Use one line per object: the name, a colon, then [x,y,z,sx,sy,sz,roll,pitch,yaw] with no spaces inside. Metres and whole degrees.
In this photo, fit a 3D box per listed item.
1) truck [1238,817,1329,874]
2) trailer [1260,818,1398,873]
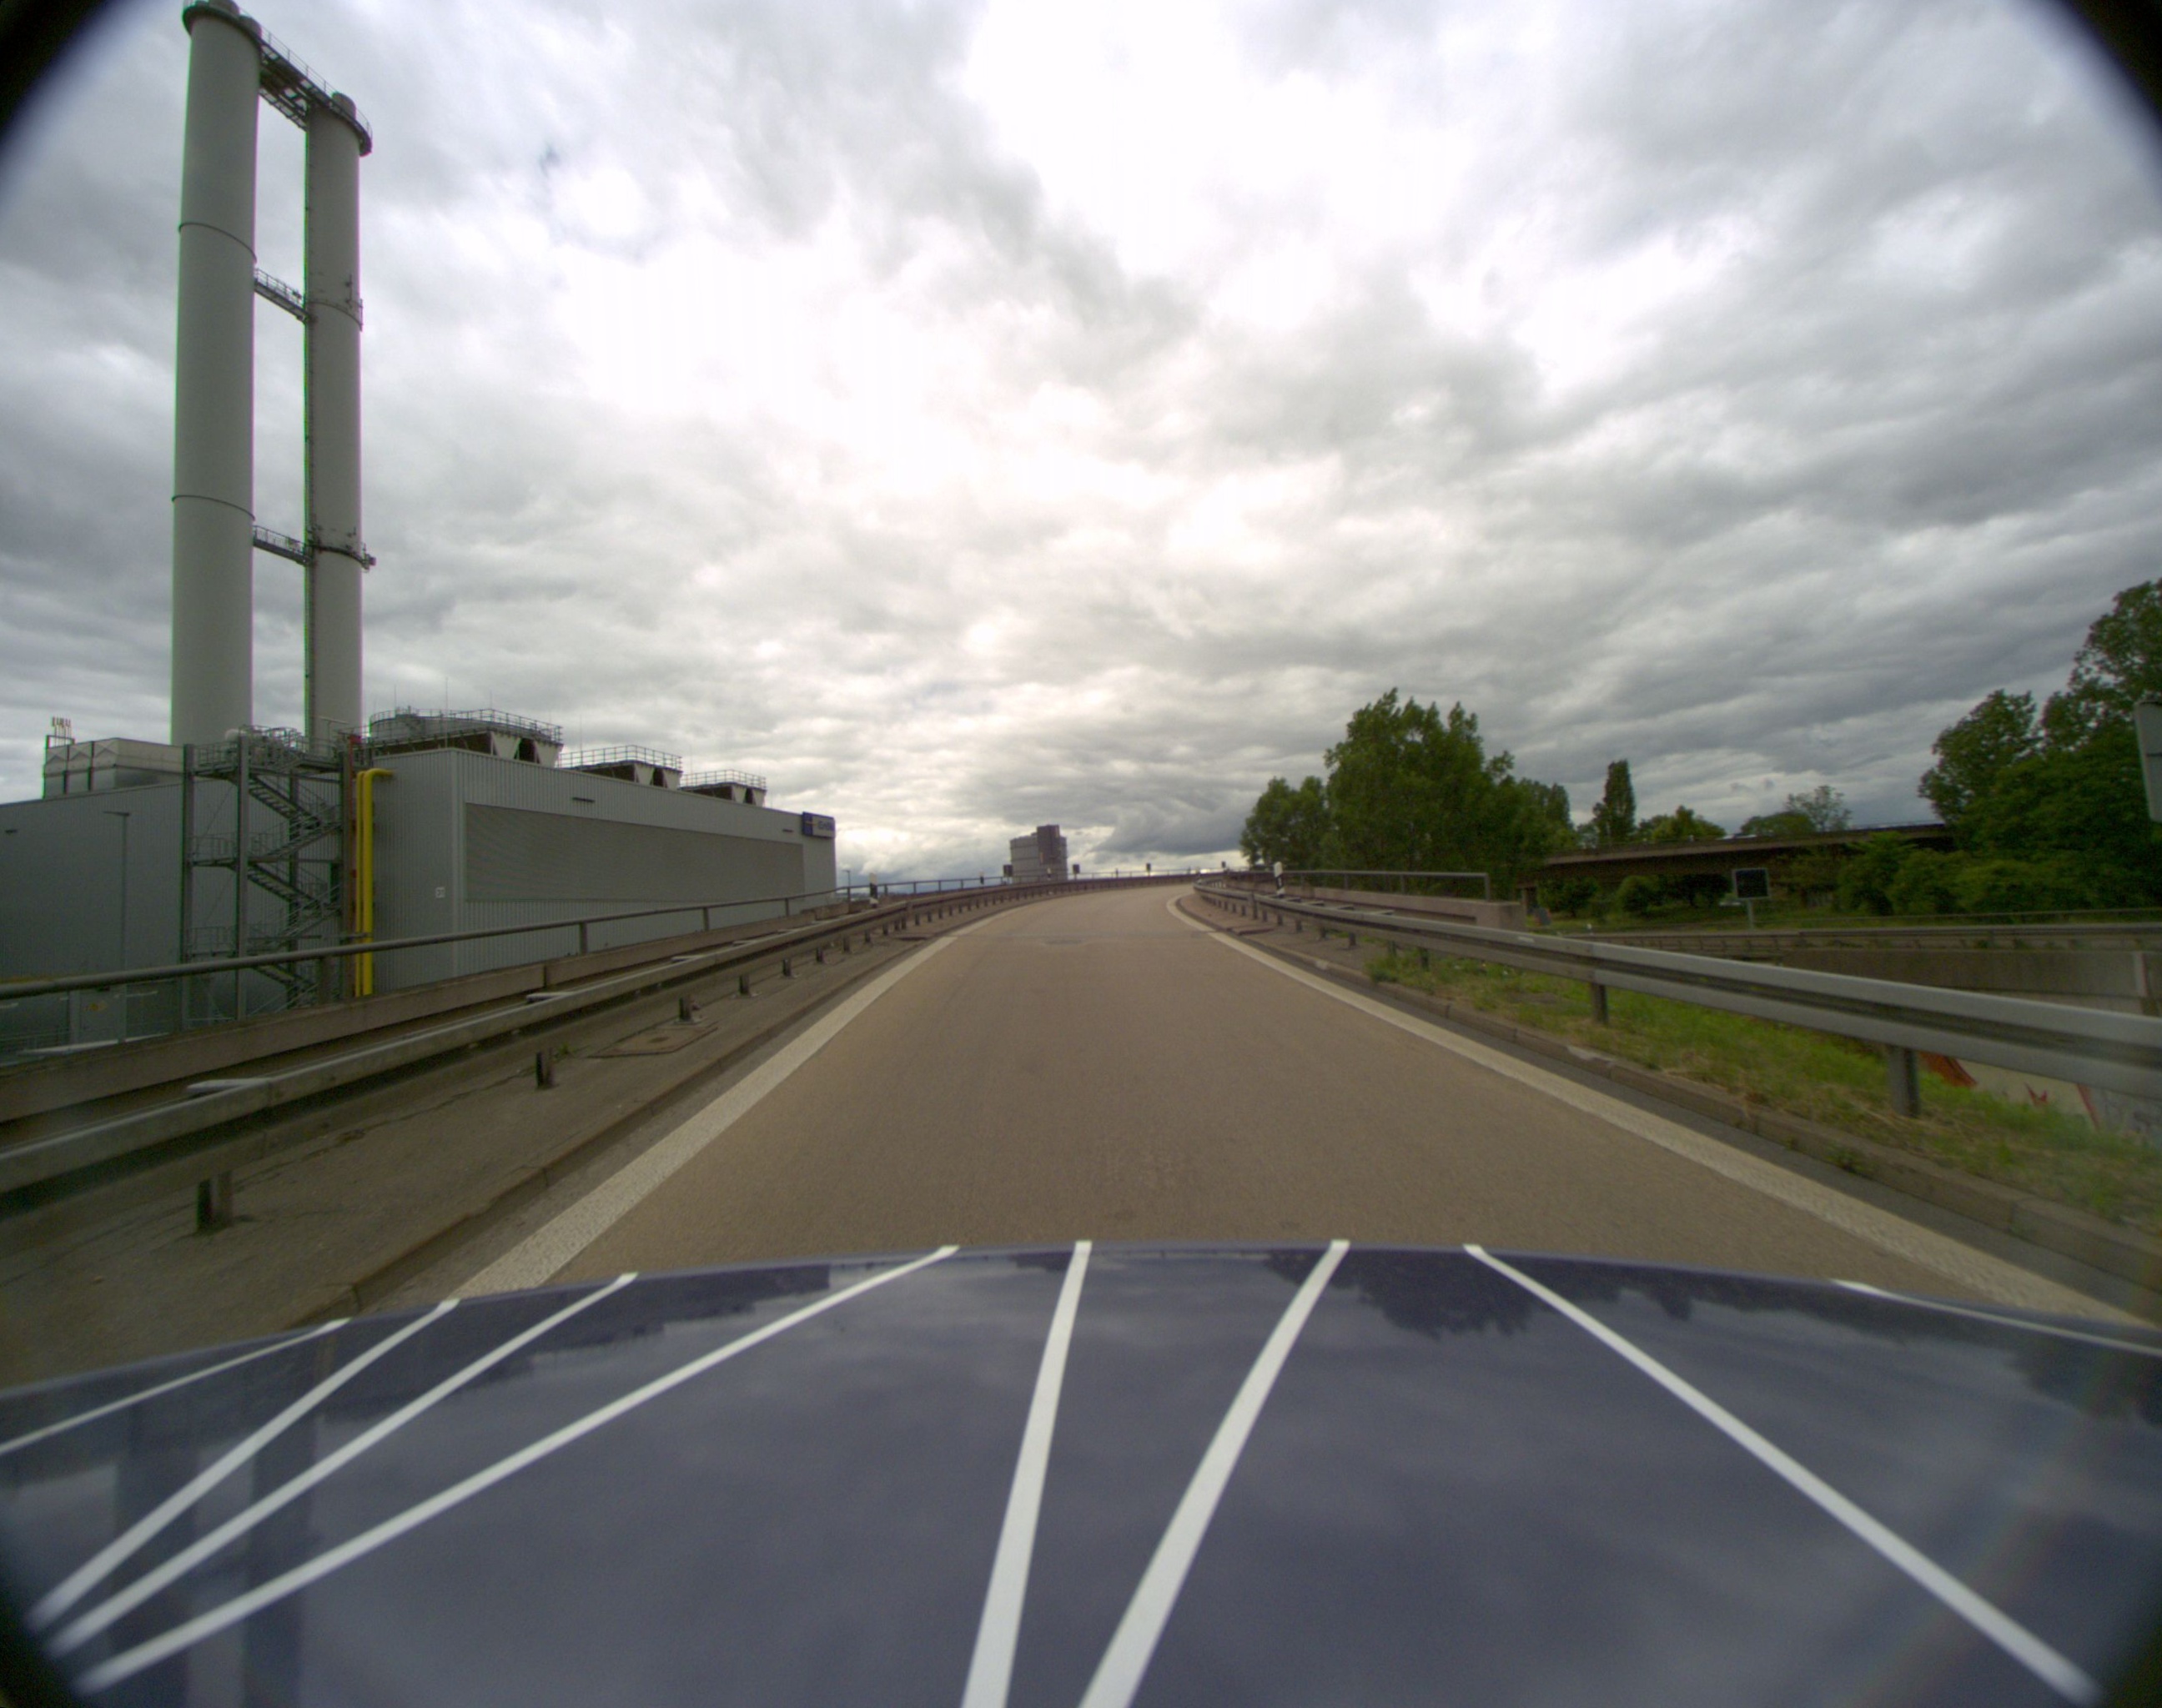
truck: [16.913,-0.687,63.444,5.976,4.276,4.159,-2,-4,-36]
trailer: [22.311,-0.837,67.644,13.916,4.217,4.120,-2,-4,-37]
